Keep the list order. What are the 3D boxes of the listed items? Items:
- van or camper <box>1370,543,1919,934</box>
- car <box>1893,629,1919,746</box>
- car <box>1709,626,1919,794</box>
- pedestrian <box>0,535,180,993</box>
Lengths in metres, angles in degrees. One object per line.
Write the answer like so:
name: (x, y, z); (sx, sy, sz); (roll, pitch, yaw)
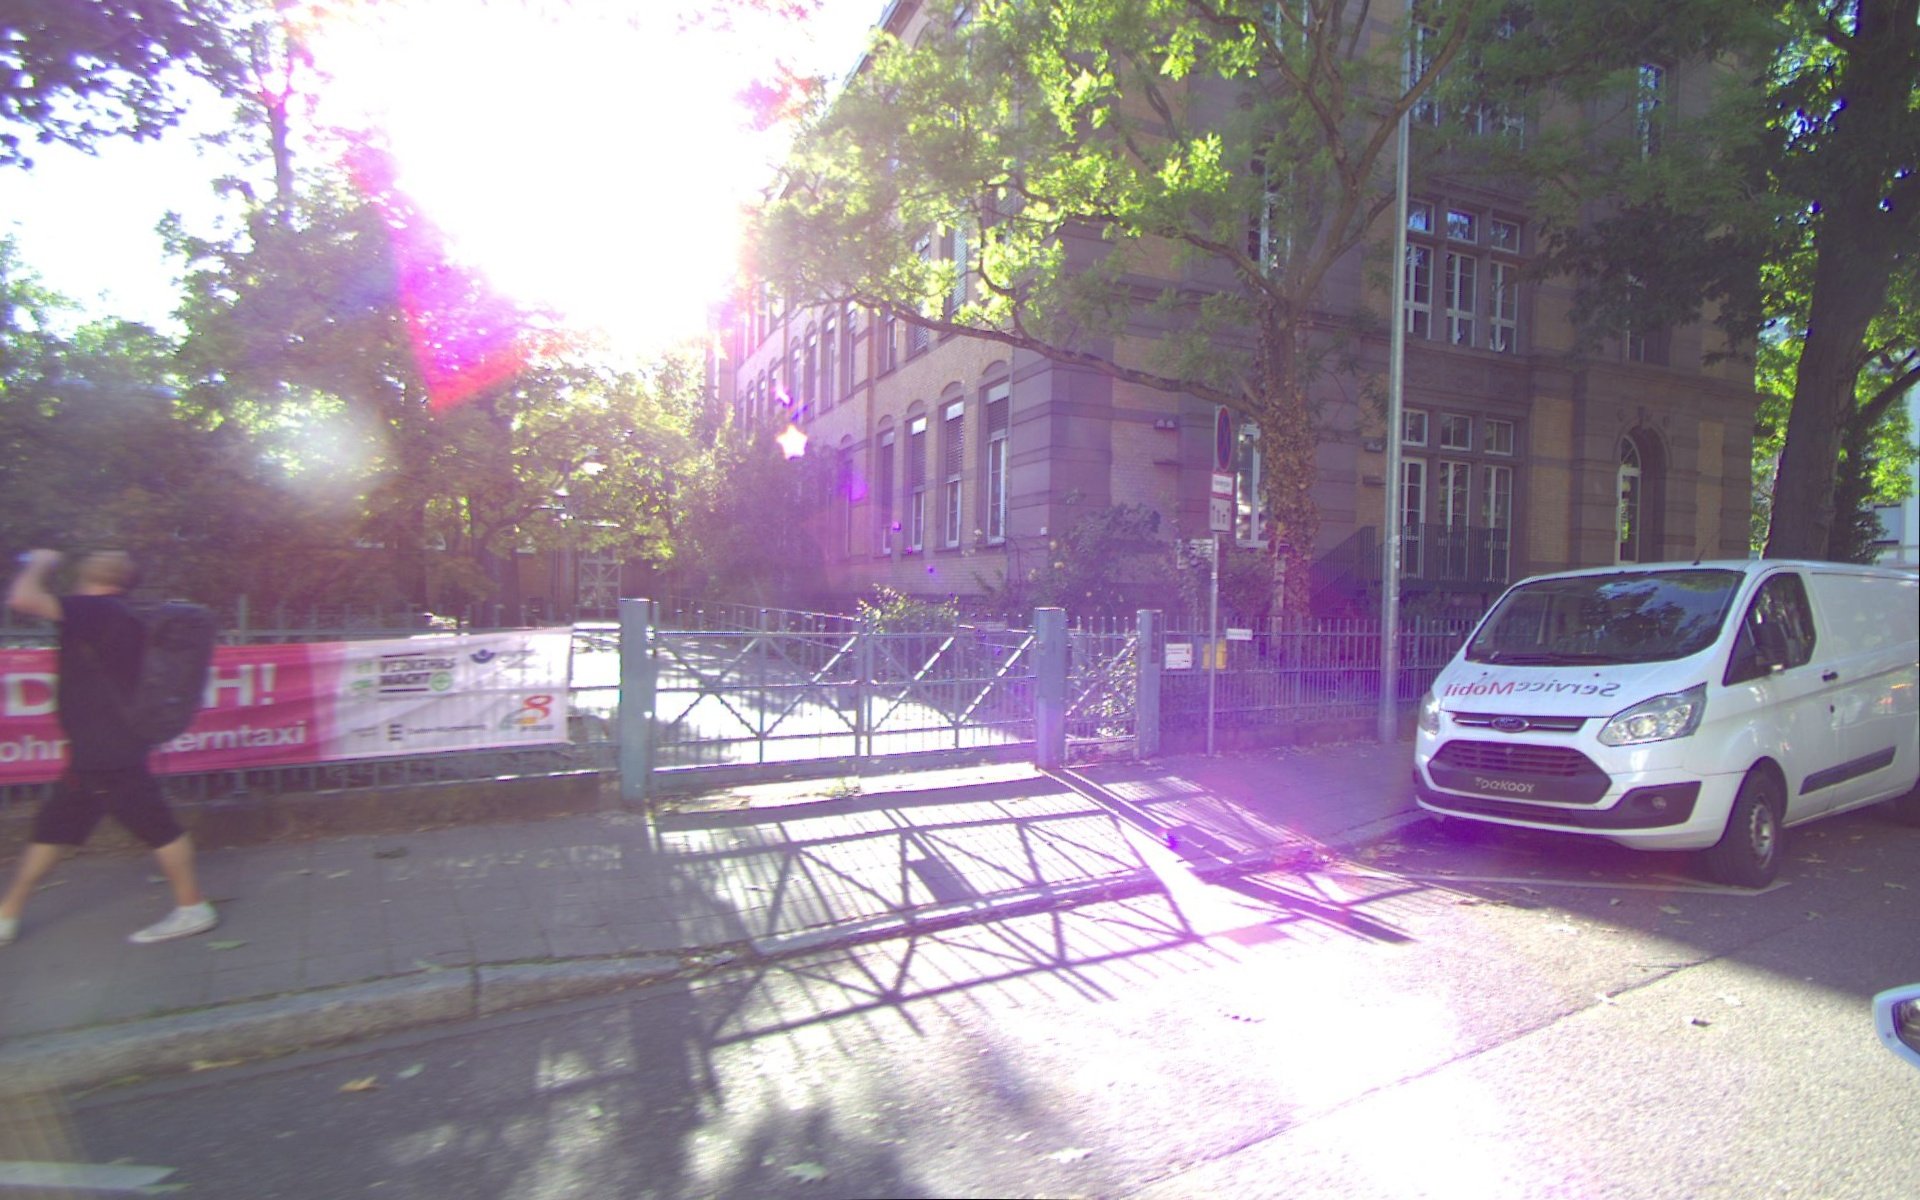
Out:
van or camper: (5.549, 0.799, 7.490); (5.404, 2.005, 1.910); (1, -3, -34)
car: (14.072, 1.106, 13.296); (3.984, 1.479, 1.593); (1, -3, -33)
car: (10.053, 1.017, 10.578); (4.555, 1.476, 1.990); (1, -2, -33)
pedestrian: (-3.464, 0.567, 3.935); (0.523, 1.598, 0.876); (1, 1, -31)
